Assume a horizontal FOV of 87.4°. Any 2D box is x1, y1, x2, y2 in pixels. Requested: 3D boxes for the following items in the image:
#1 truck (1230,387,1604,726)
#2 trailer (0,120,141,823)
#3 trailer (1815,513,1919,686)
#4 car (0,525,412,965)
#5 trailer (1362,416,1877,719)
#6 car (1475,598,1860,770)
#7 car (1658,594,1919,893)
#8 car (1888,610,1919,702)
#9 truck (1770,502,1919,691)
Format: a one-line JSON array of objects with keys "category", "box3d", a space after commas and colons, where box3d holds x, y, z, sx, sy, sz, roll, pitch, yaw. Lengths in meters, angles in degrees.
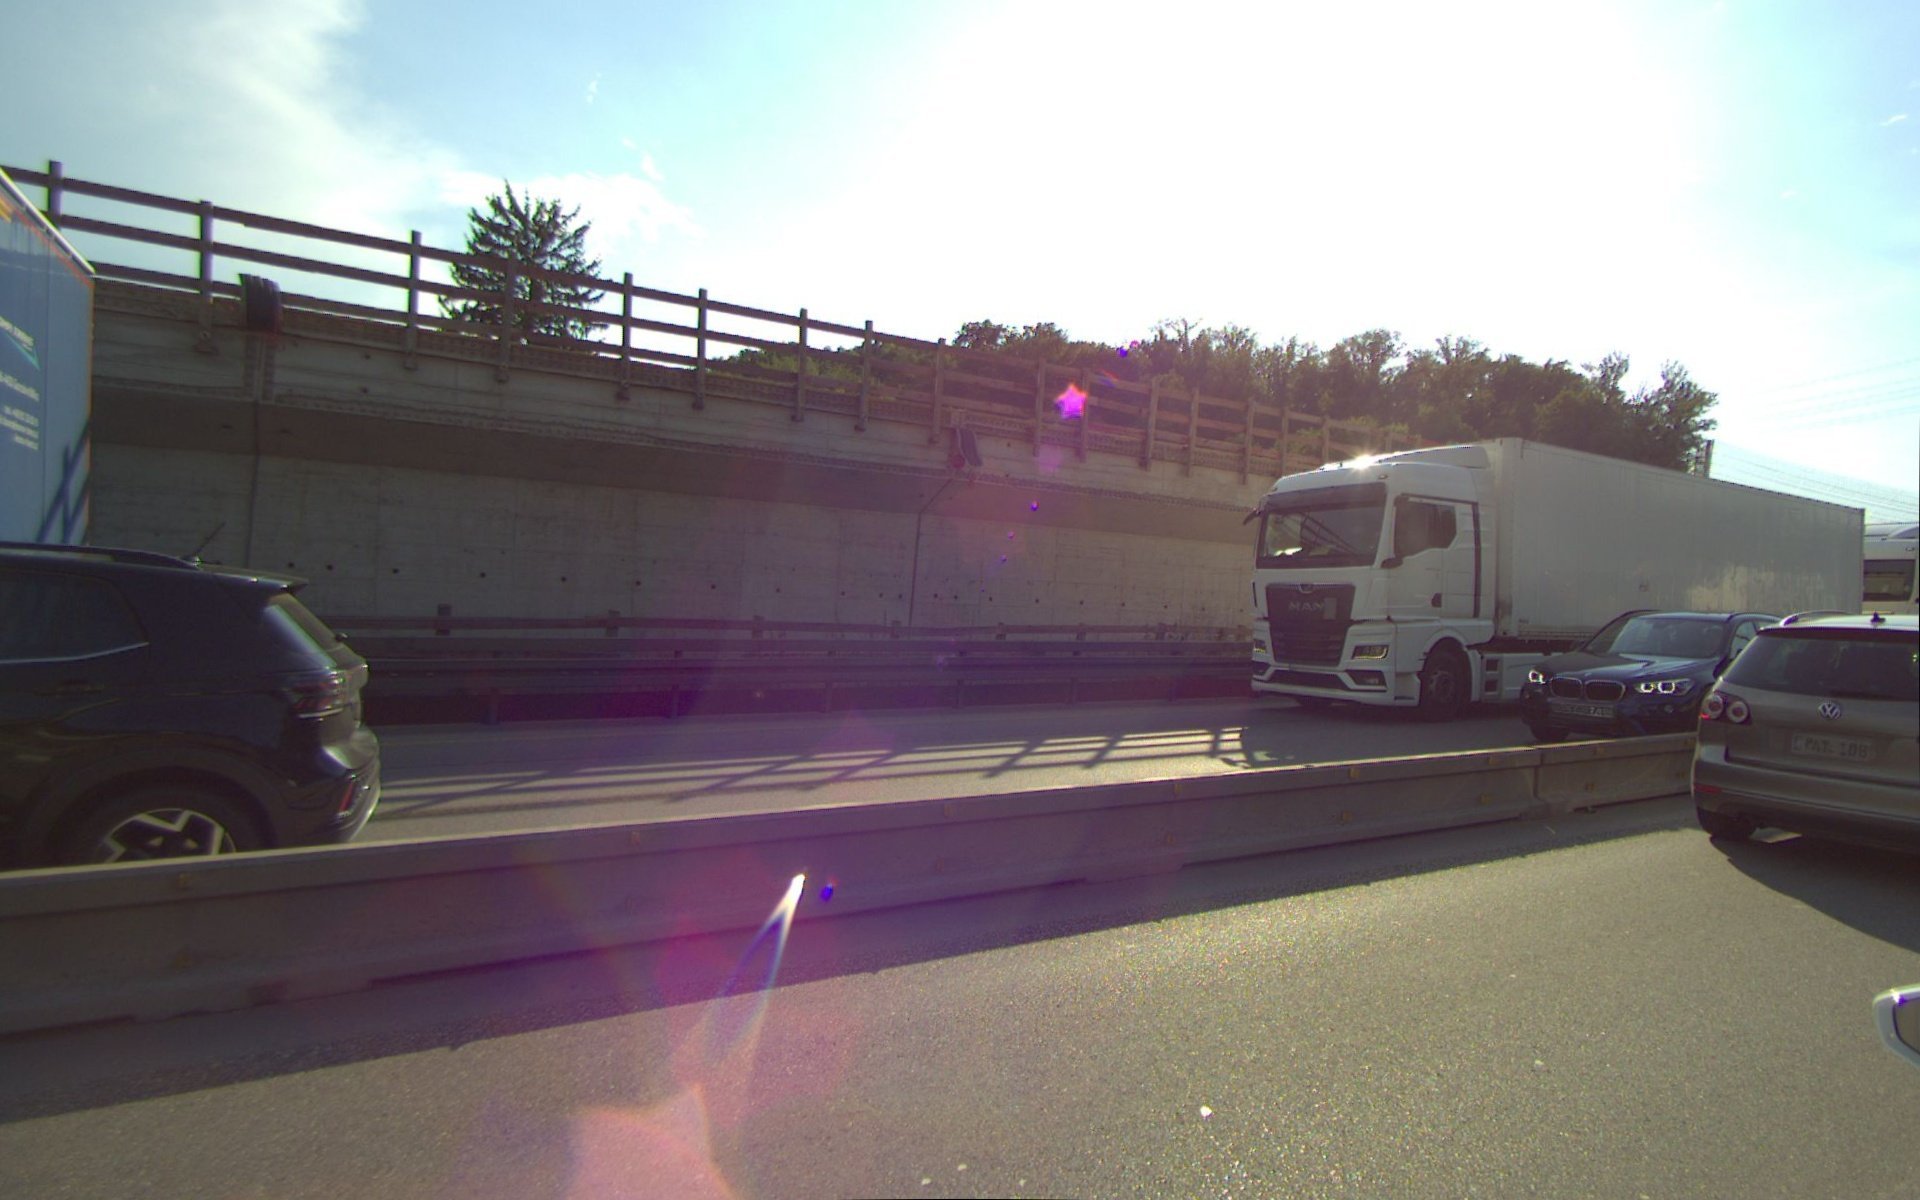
[{"category": "truck", "box3d": [7.062, -0.499, 15.393, 5.410, 4.373, 2.443, 2, 0, -30]}, {"category": "trailer", "box3d": [-9.830, -0.905, 5.185, 8.188, 4.160, 2.802, 2, 0, -30]}, {"category": "trailer", "box3d": [29.094, 0.193, 28.989, 13.682, 4.259, 2.760, 2, 0, -33]}, {"category": "car", "box3d": [-4.638, 0.486, 3.946, 4.318, 1.597, 1.691, 2, 0, -30]}, {"category": "trailer", "box3d": [13.144, -0.273, 19.064, 13.618, 4.377, 2.443, 2, 0, -31]}, {"category": "car", "box3d": [8.552, 0.938, 12.057, 4.674, 1.628, 1.872, 3, 2, -29]}, {"category": "car", "box3d": [6.785, 0.844, 6.886, 4.098, 1.608, 1.692, 2, 0, -30]}, {"category": "car", "box3d": [20.256, 1.175, 19.546, 4.921, 1.677, 1.996, 2, 2, -33]}, {"category": "truck", "box3d": [23.422, -0.017, 25.359, 6.048, 4.259, 2.749, 2, 0, -32]}]
